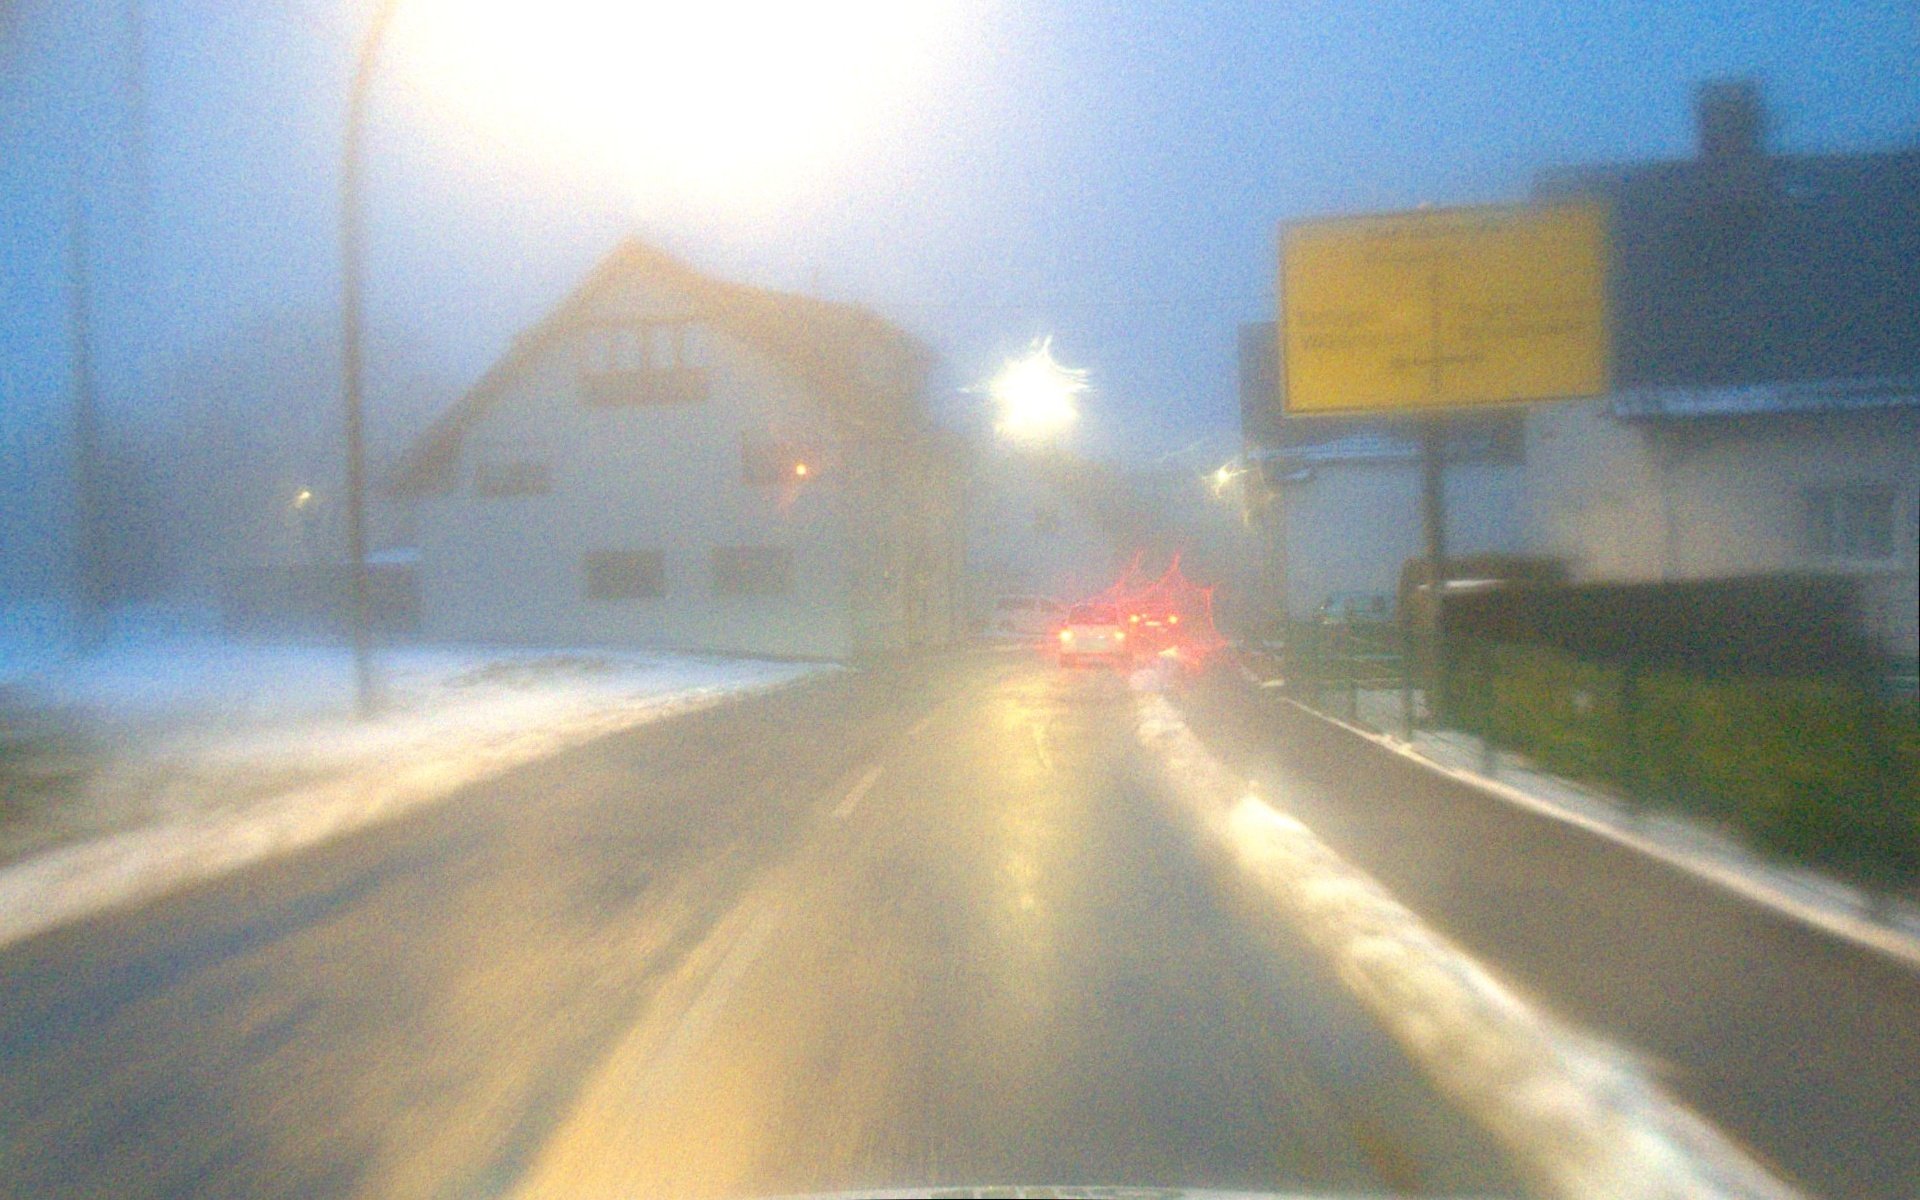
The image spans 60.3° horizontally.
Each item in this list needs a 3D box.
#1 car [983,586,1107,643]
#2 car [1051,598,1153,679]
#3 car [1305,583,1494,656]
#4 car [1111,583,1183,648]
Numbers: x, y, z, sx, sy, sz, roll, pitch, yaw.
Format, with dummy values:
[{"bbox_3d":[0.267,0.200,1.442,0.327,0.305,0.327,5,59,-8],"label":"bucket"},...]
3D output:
[{"bbox_3d":[3.547,0.599,68.929,4.638,2.048,2.000,-3,2,25],"label":"car"},{"bbox_3d":[3.432,0.870,39.290,1.951,1.534,4.005,-3,2,11],"label":"car"},{"bbox_3d":[9.843,0.418,37.282,3.902,1.478,1.716,1,3,8],"label":"car"},{"bbox_3d":[6.318,0.488,55.524,1.951,1.869,4.005,-3,2,12],"label":"car"}]
